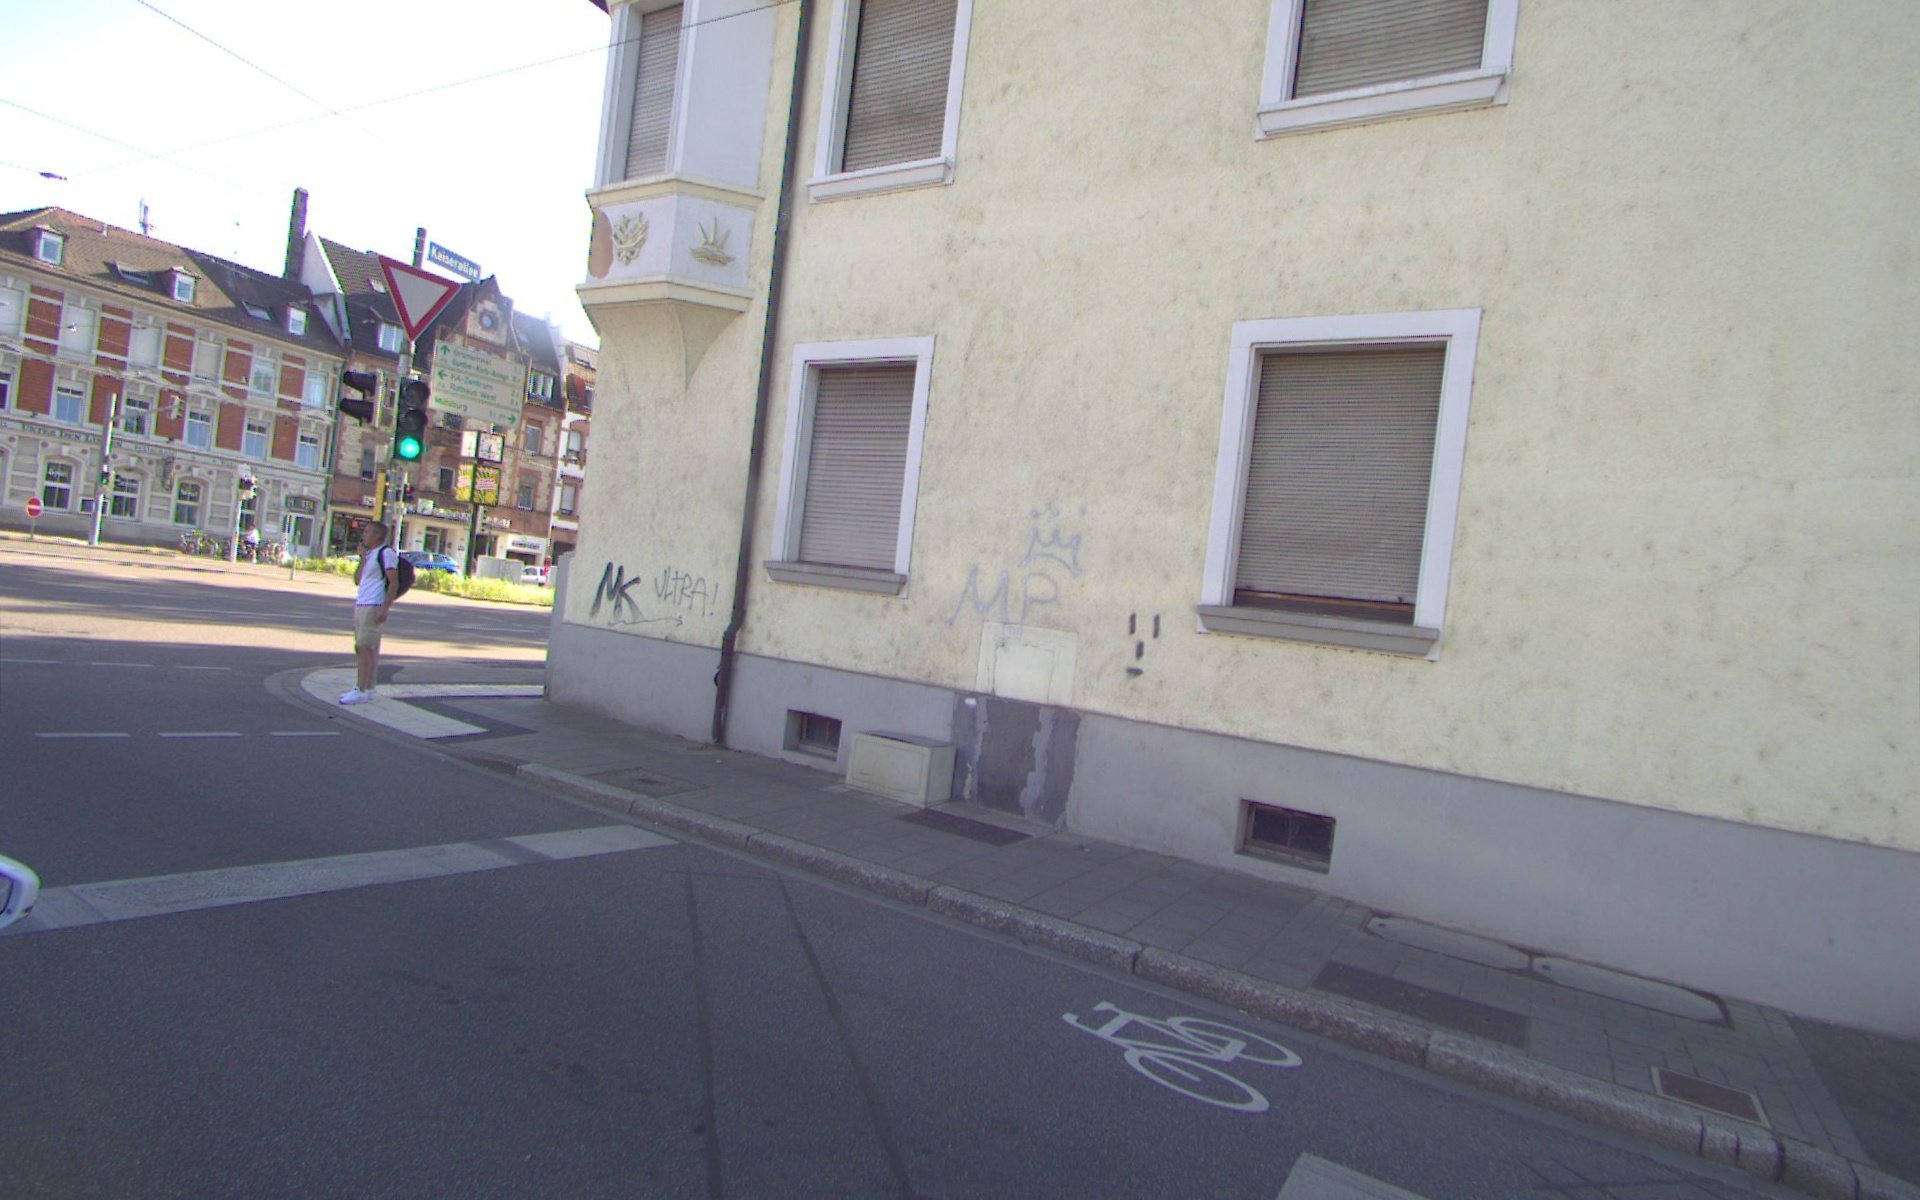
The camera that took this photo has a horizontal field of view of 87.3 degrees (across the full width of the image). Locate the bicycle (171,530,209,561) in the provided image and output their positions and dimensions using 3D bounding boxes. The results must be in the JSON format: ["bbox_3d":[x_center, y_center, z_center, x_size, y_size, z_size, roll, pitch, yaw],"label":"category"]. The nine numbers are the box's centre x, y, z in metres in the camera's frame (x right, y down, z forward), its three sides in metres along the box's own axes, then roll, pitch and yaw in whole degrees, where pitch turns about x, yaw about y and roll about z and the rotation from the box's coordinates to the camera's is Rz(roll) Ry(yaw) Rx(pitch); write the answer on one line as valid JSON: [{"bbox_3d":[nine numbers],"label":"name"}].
[{"bbox_3d":[-34.871,-2.478,45.573,1.935,1.205,0.678,7,0,33],"label":"bicycle"}]

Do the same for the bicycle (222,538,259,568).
[{"bbox_3d":[-33.845,-2.207,47.316,1.935,1.205,0.678,7,0,33],"label":"bicycle"}]

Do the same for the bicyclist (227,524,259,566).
[{"bbox_3d":[-32.366,-2.481,45.420,0.592,1.785,0.873,7,0,34],"label":"bicyclist"}]

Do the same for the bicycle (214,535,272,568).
[{"bbox_3d":[-32.383,-2.189,45.458,0.592,1.205,1.962,7,-1,34],"label":"bicycle"}]

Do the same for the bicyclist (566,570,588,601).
[{"bbox_3d":[-23.324,-0.864,61.313,0.592,1.785,0.904,7,0,34],"label":"bicyclist"}]

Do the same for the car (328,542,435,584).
[{"bbox_3d":[-27.816,-1.739,48.468,1.815,1.429,3.993,7,-1,31],"label":"car"}]

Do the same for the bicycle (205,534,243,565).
[{"bbox_3d":[-34.192,-2.355,46.743,1.935,1.205,0.678,7,0,33],"label":"bicycle"}]

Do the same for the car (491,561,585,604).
[{"bbox_3d":[-21.907,-0.901,52.335,1.922,1.688,3.993,7,-1,31],"label":"car"}]

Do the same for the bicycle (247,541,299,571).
[{"bbox_3d":[-32.869,-2.090,48.167,0.667,1.205,1.968,7,-1,20],"label":"bicycle"}]

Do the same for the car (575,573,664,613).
[{"bbox_3d":[-19.193,-0.359,56.931,1.922,1.688,4.480,7,-1,31],"label":"car"}]

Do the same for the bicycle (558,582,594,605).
[{"bbox_3d":[-23.386,-0.384,61.306,0.592,1.205,1.962,7,-1,34],"label":"bicycle"}]

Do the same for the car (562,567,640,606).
[{"bbox_3d":[-23.225,-0.842,65.186,1.922,1.988,4.411,7,-1,31],"label":"car"}]

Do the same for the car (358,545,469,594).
[{"bbox_3d":[-25.390,-1.379,46.832,1.922,1.688,3.993,7,-1,31],"label":"car"}]

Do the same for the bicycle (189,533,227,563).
[{"bbox_3d":[-34.531,-2.394,46.187,1.935,1.205,0.678,7,0,33],"label":"bicycle"}]

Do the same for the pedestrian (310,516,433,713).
[{"bbox_3d":[-5.607,0.134,9.616,0.661,1.764,0.689,5,2,2],"label":"pedestrian"}]
